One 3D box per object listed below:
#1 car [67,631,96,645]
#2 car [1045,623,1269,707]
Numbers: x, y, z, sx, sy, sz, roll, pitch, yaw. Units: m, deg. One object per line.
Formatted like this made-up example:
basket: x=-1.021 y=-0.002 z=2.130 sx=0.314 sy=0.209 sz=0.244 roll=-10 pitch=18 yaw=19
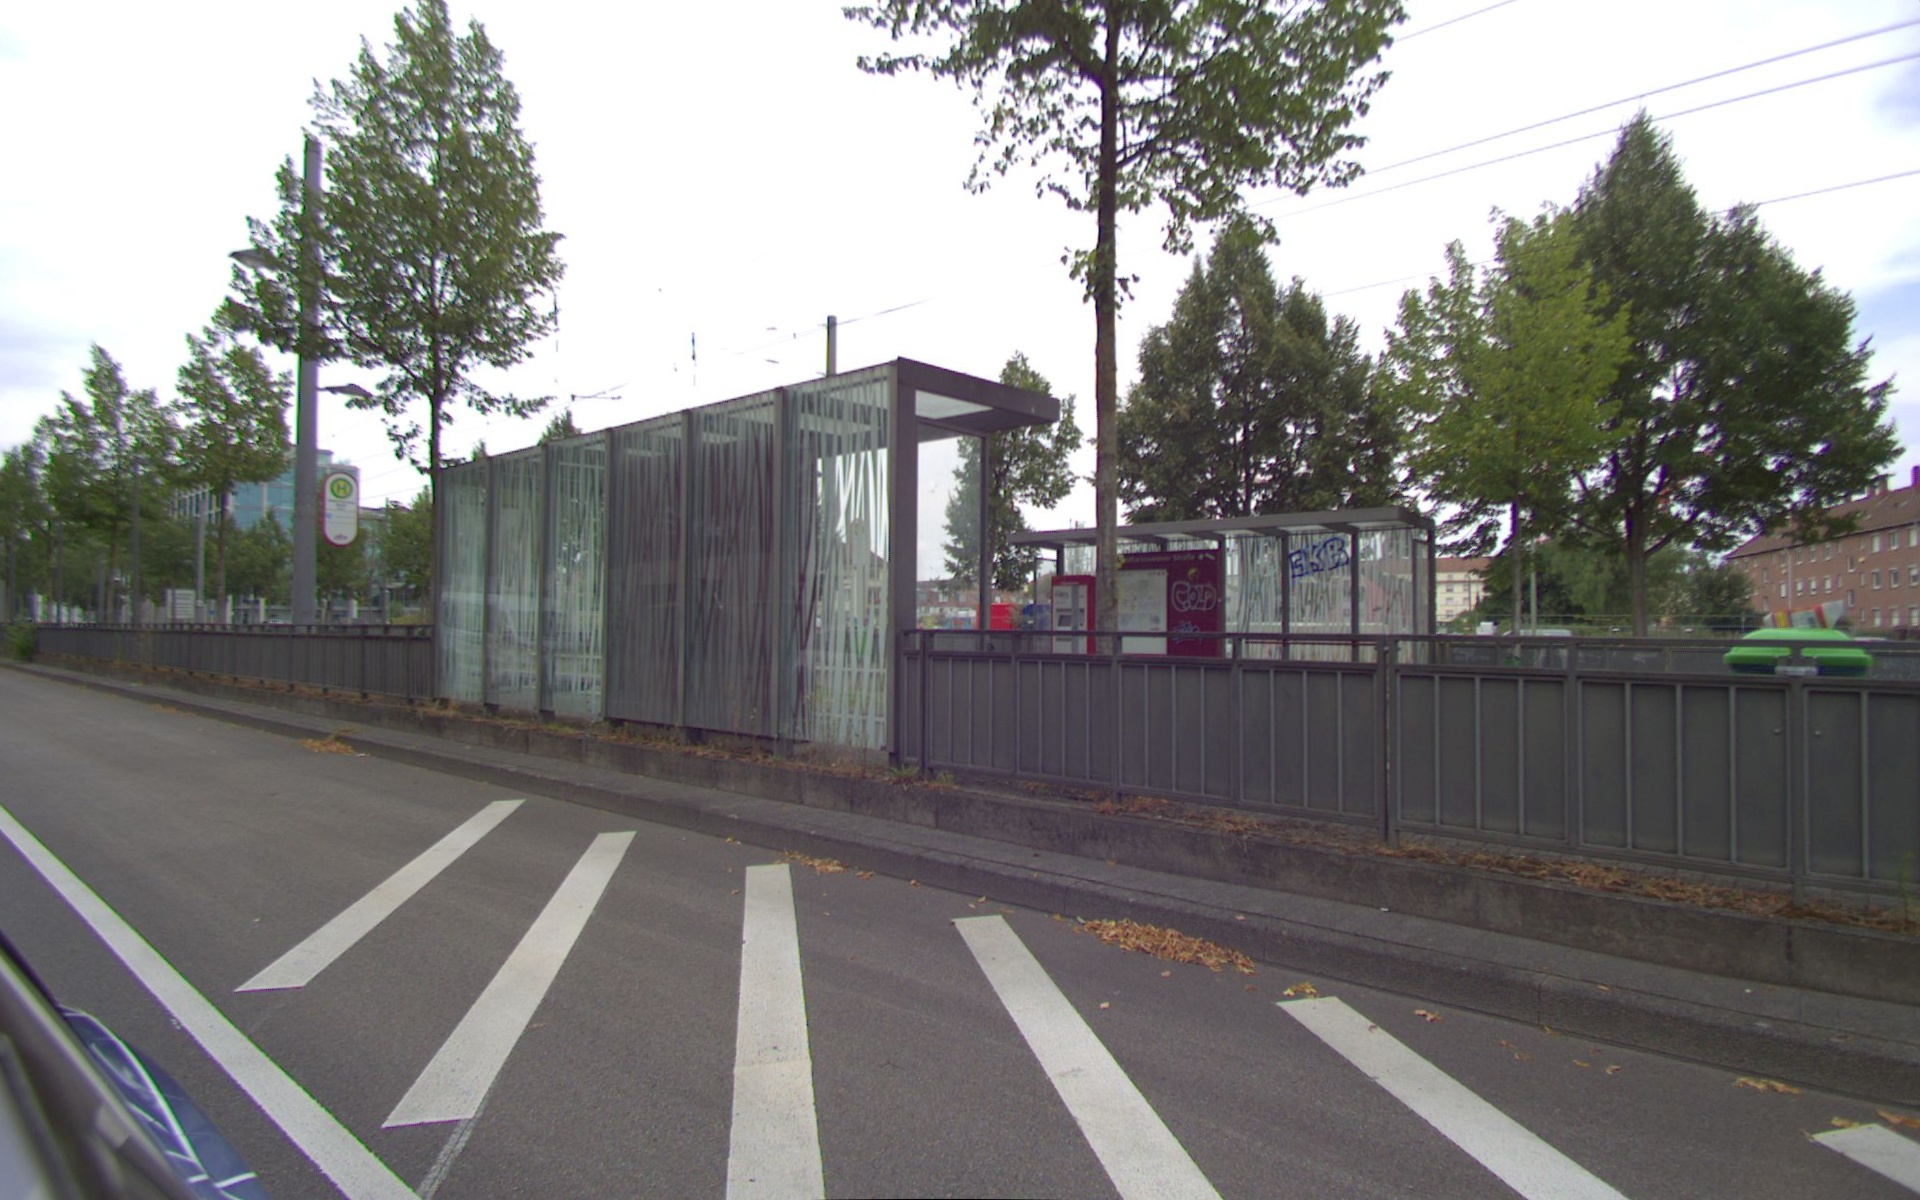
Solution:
car: x=-105.431 y=4.508 z=121.404 sx=4.686 sy=1.669 sz=1.809 roll=-2 pitch=-2 yaw=39
car: x=4.168 y=1.329 z=21.867 sx=4.383 sy=1.630 sz=1.972 roll=-2 pitch=-3 yaw=42
